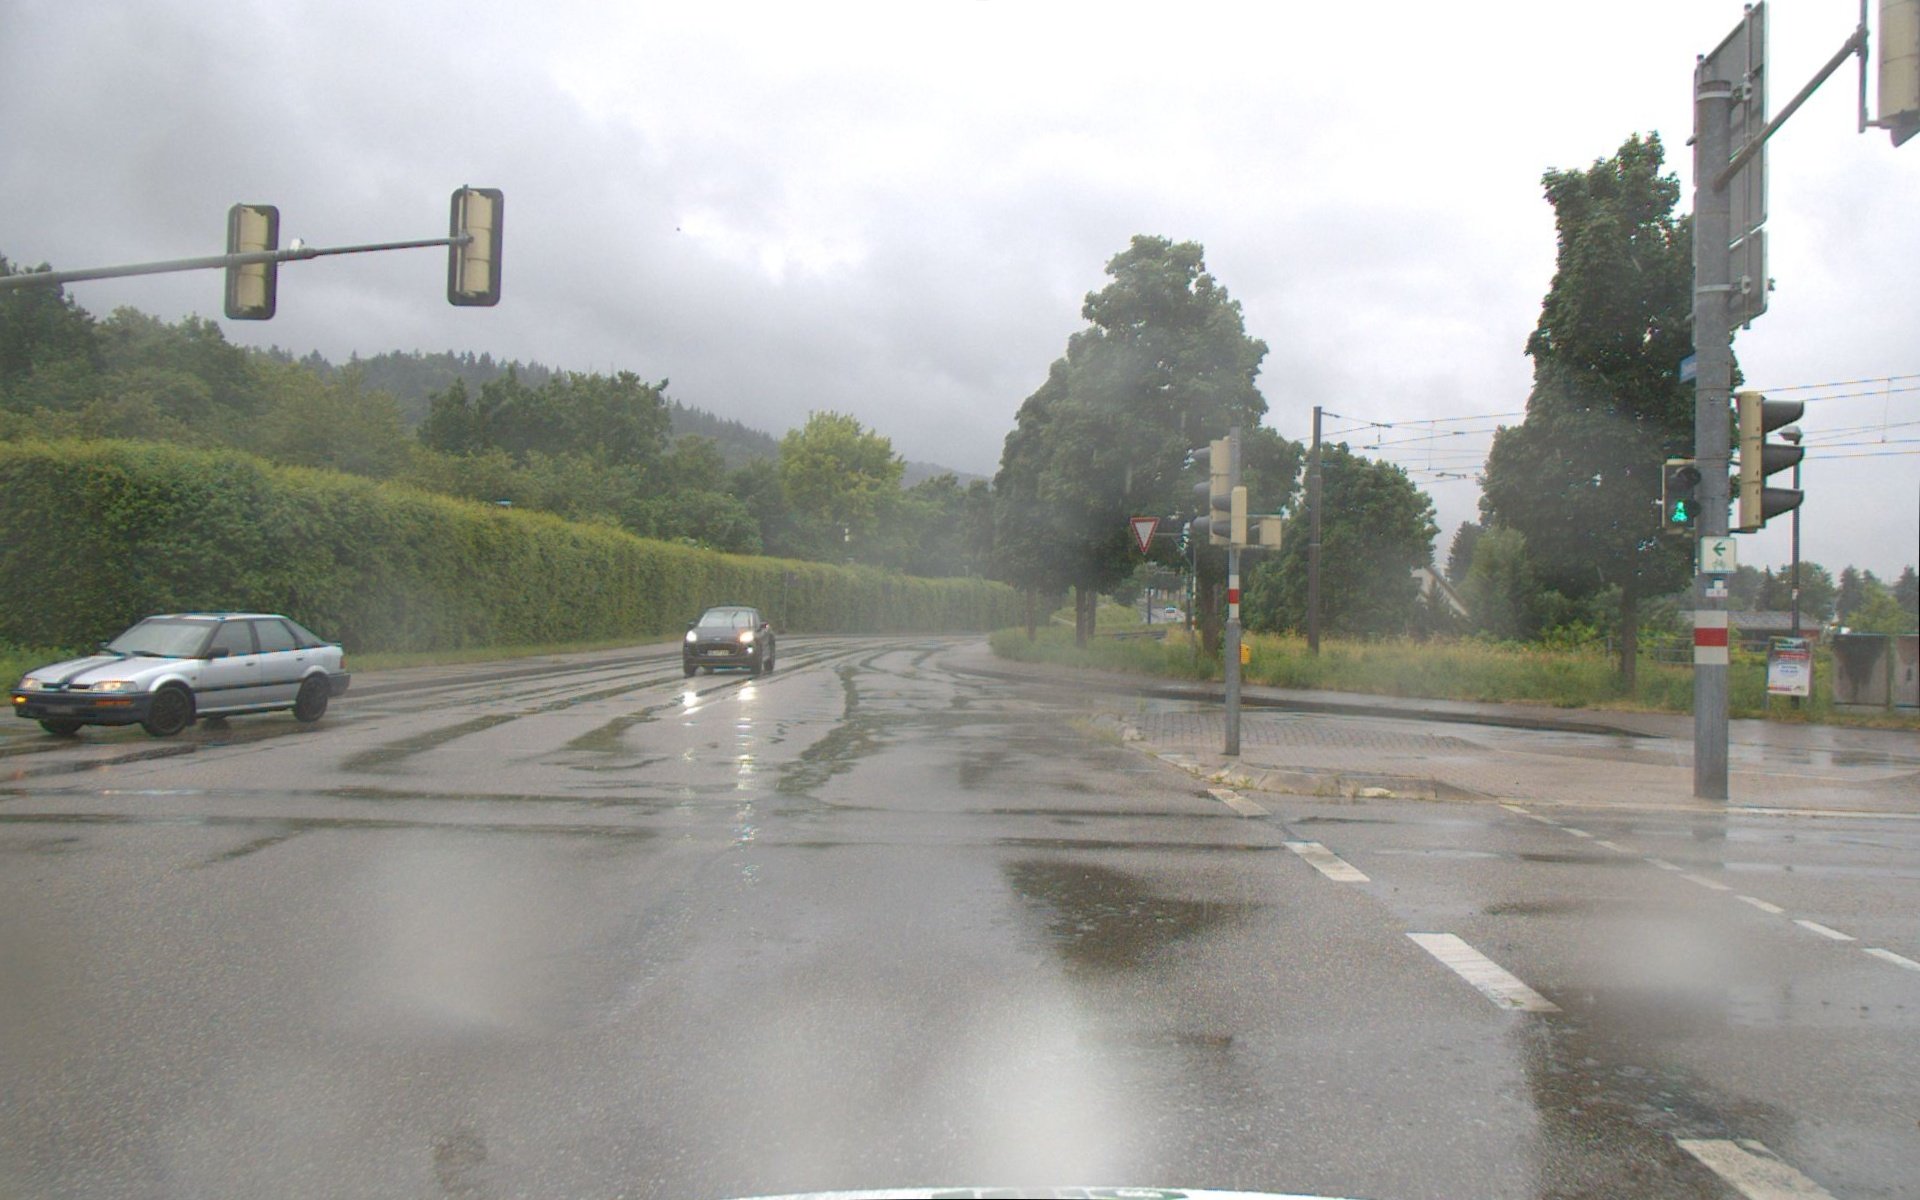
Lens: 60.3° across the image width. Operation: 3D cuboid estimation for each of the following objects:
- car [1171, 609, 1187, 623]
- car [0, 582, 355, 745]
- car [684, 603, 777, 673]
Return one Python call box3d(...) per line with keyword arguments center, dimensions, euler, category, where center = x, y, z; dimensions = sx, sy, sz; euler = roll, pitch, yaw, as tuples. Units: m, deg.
box3d(center=(31.637, 2.318, 239.265), dimensions=(1.912, 1.937, 4.123), euler=(0, 0, 13), category="car")
box3d(center=(-9.474, 0.680, 20.198), dimensions=(1.993, 1.738, 4.069), euler=(1, 0, 13), category="car")
box3d(center=(-5.390, 0.866, 39.221), dimensions=(1.749, 1.531, 4.059), euler=(1, 0, -2), category="car")
